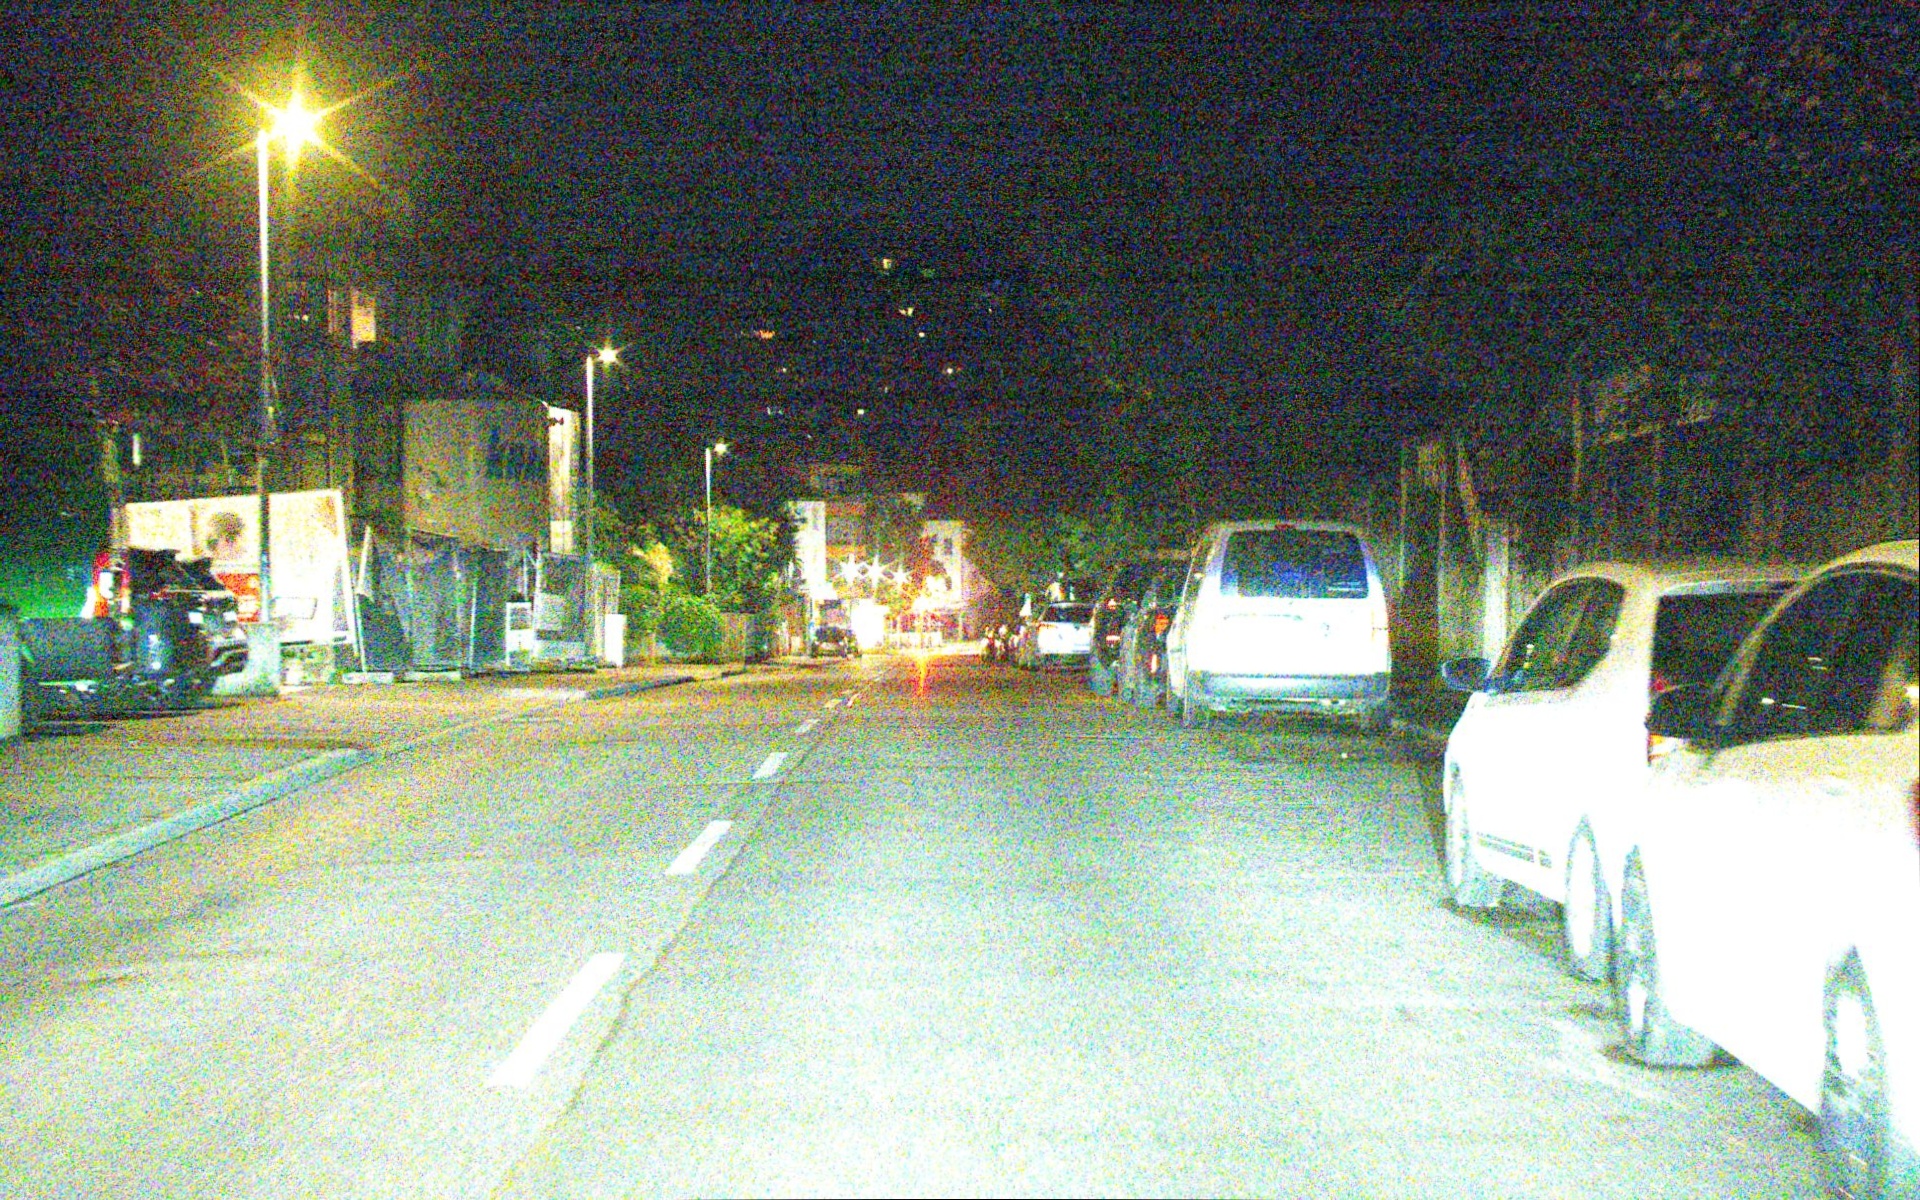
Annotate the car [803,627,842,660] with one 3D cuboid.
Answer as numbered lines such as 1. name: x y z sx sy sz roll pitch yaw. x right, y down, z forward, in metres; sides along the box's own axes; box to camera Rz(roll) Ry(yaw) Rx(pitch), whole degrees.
1. car: -6.457 2.049 161.139 1.753 1.534 3.731 0 -1 -4

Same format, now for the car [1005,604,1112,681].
1. car: 2.006 0.880 71.254 1.763 1.471 4.276 2 -1 -4

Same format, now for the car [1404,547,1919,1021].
1. car: 2.799 0.585 13.320 1.609 1.456 3.717 -2 2 0

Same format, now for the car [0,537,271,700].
1. car: -9.028 0.158 34.581 3.811 1.550 1.927 1 1 0

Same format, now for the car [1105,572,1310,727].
1. car: 2.535 0.487 36.088 1.743 1.466 4.256 2 0 -1

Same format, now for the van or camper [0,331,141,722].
1. van or camper: -9.524 -0.615 28.014 5.397 3.100 2.133 0 1 -10

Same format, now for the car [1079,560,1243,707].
1. car: 2.388 0.410 41.713 1.832 1.658 4.618 1 -1 2

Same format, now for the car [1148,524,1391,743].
1. car: 2.667 0.258 30.595 1.718 1.755 4.758 1 0 0

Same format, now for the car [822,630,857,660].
1. car: -6.237 2.340 178.258 1.753 1.534 3.731 0 -1 -2

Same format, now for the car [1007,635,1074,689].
1. car: 2.210 1.706 95.225 1.629 1.434 3.864 1 -1 -2

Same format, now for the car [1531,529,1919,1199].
1. car: 2.724 0.646 8.812 1.755 1.588 4.728 1 1 1

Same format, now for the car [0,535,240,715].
1. car: -9.087 0.229 31.753 4.417 1.608 2.065 0 -1 1
